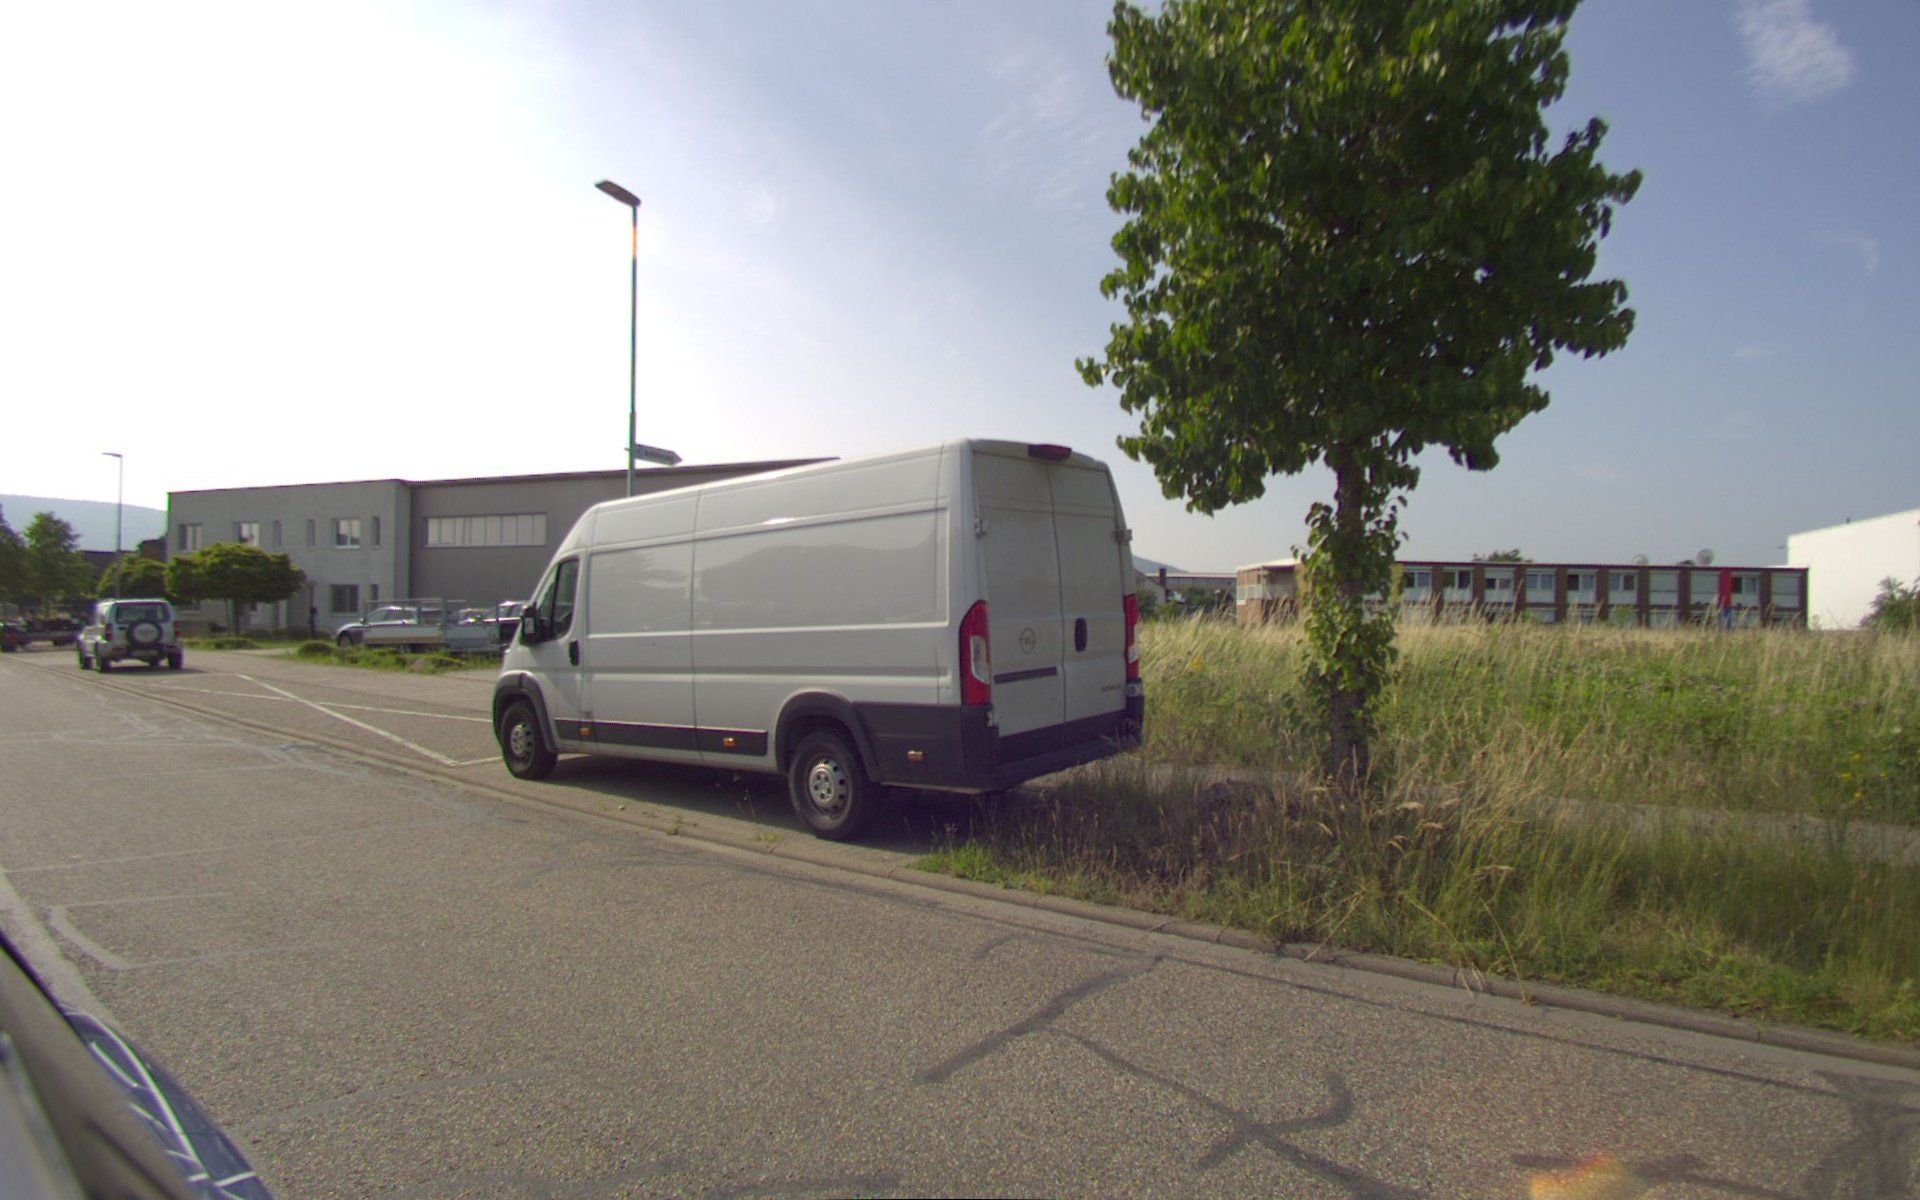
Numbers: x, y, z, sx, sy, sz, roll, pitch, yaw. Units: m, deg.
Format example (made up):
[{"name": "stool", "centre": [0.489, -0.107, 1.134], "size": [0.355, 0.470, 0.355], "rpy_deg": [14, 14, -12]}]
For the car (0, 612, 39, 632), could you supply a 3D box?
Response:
[{"name": "car", "centre": [-83.343, 1.922, 88.447], "size": [1.999, 1.741, 3.944], "rpy_deg": [-1, -2, 42]}]

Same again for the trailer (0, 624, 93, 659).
[{"name": "trailer", "centre": [-34.546, 1.475, 37.341], "size": [9.727, 1.082, 2.519], "rpy_deg": [-1, -1, 41]}]

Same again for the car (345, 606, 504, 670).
[{"name": "car", "centre": [-14.158, 0.952, 26.764], "size": [3.794, 1.583, 1.824], "rpy_deg": [0, 0, 25]}]

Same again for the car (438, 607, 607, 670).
[{"name": "car", "centre": [-12.490, 1.060, 28.900], "size": [4.394, 1.671, 1.980], "rpy_deg": [0, -1, 24]}]

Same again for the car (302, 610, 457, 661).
[{"name": "car", "centre": [-17.979, 1.070, 31.345], "size": [4.394, 1.487, 1.966], "rpy_deg": [0, -1, 24]}]

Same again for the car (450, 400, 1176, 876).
[{"name": "car", "centre": [-1.650, 0.222, 8.407], "size": [6.495, 2.614, 2.082], "rpy_deg": [-1, 0, 38]}]

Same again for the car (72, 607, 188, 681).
[{"name": "car", "centre": [-20.128, 1.013, 24.503], "size": [3.642, 1.663, 1.580], "rpy_deg": [-1, -1, 41]}]
